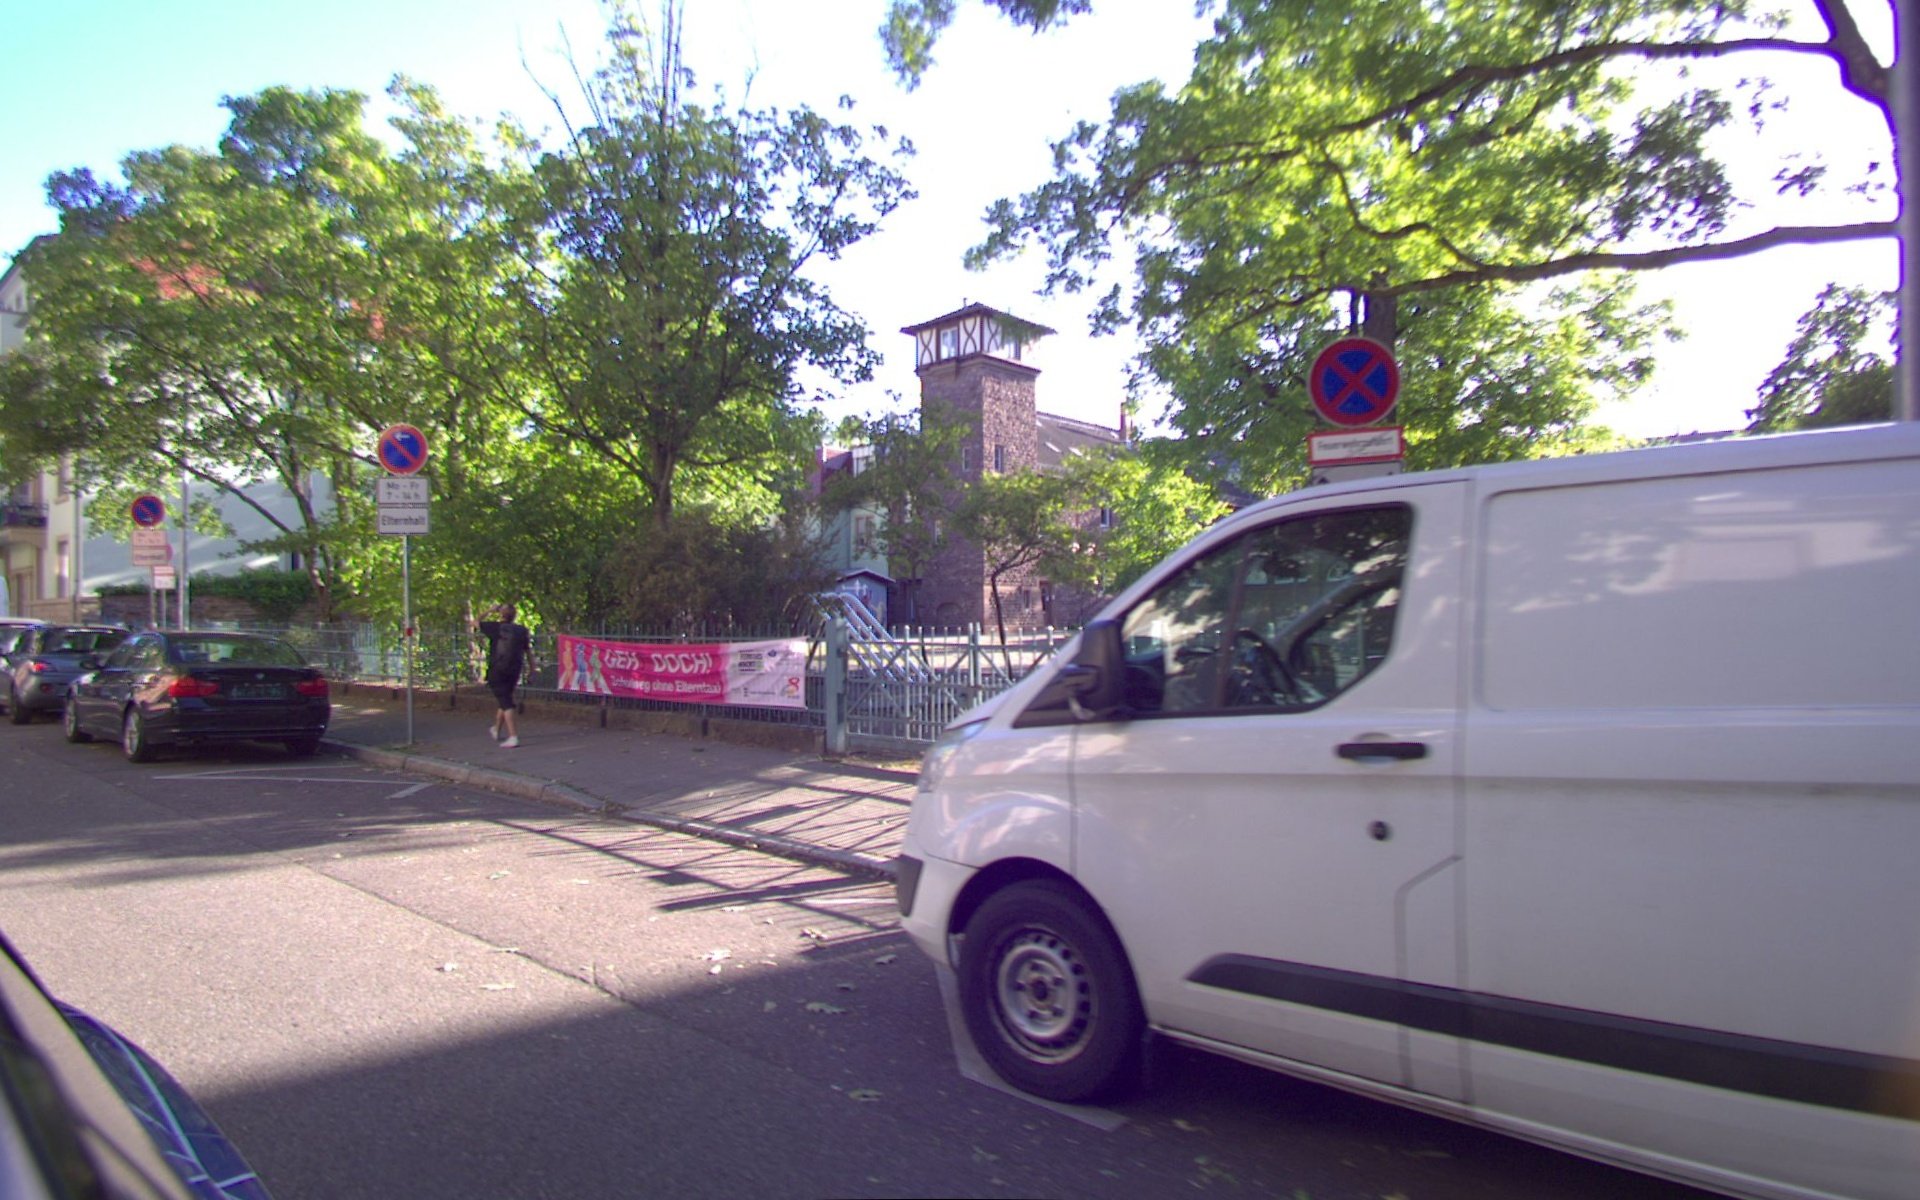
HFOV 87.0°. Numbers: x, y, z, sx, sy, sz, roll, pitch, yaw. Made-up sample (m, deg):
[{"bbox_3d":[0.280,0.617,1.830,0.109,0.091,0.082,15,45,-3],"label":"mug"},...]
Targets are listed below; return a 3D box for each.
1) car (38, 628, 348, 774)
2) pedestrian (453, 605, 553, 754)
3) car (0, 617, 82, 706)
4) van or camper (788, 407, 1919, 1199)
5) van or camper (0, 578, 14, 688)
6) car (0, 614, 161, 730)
[{"bbox_3d":[-9.214,1.086,12.008,4.773,1.406,1.697,-1,-5,38],"label":"car"},{"bbox_3d":[-5.109,0.857,11.323,0.529,1.589,0.872,-1,-1,40],"label":"pedestrian"},{"bbox_3d":[-18.937,1.156,19.851,4.463,1.603,1.763,-1,-4,39],"label":"car"},{"bbox_3d":[2.095,0.686,2.919,5.454,1.995,1.903,-1,-4,38],"label":"van or camper"},{"bbox_3d":[-27.193,0.841,26.890,5.845,2.790,2.107,-1,-3,39],"label":"van or camper"},{"bbox_3d":[-14.165,1.085,15.895,4.148,1.585,1.659,-2,-5,40],"label":"car"}]
